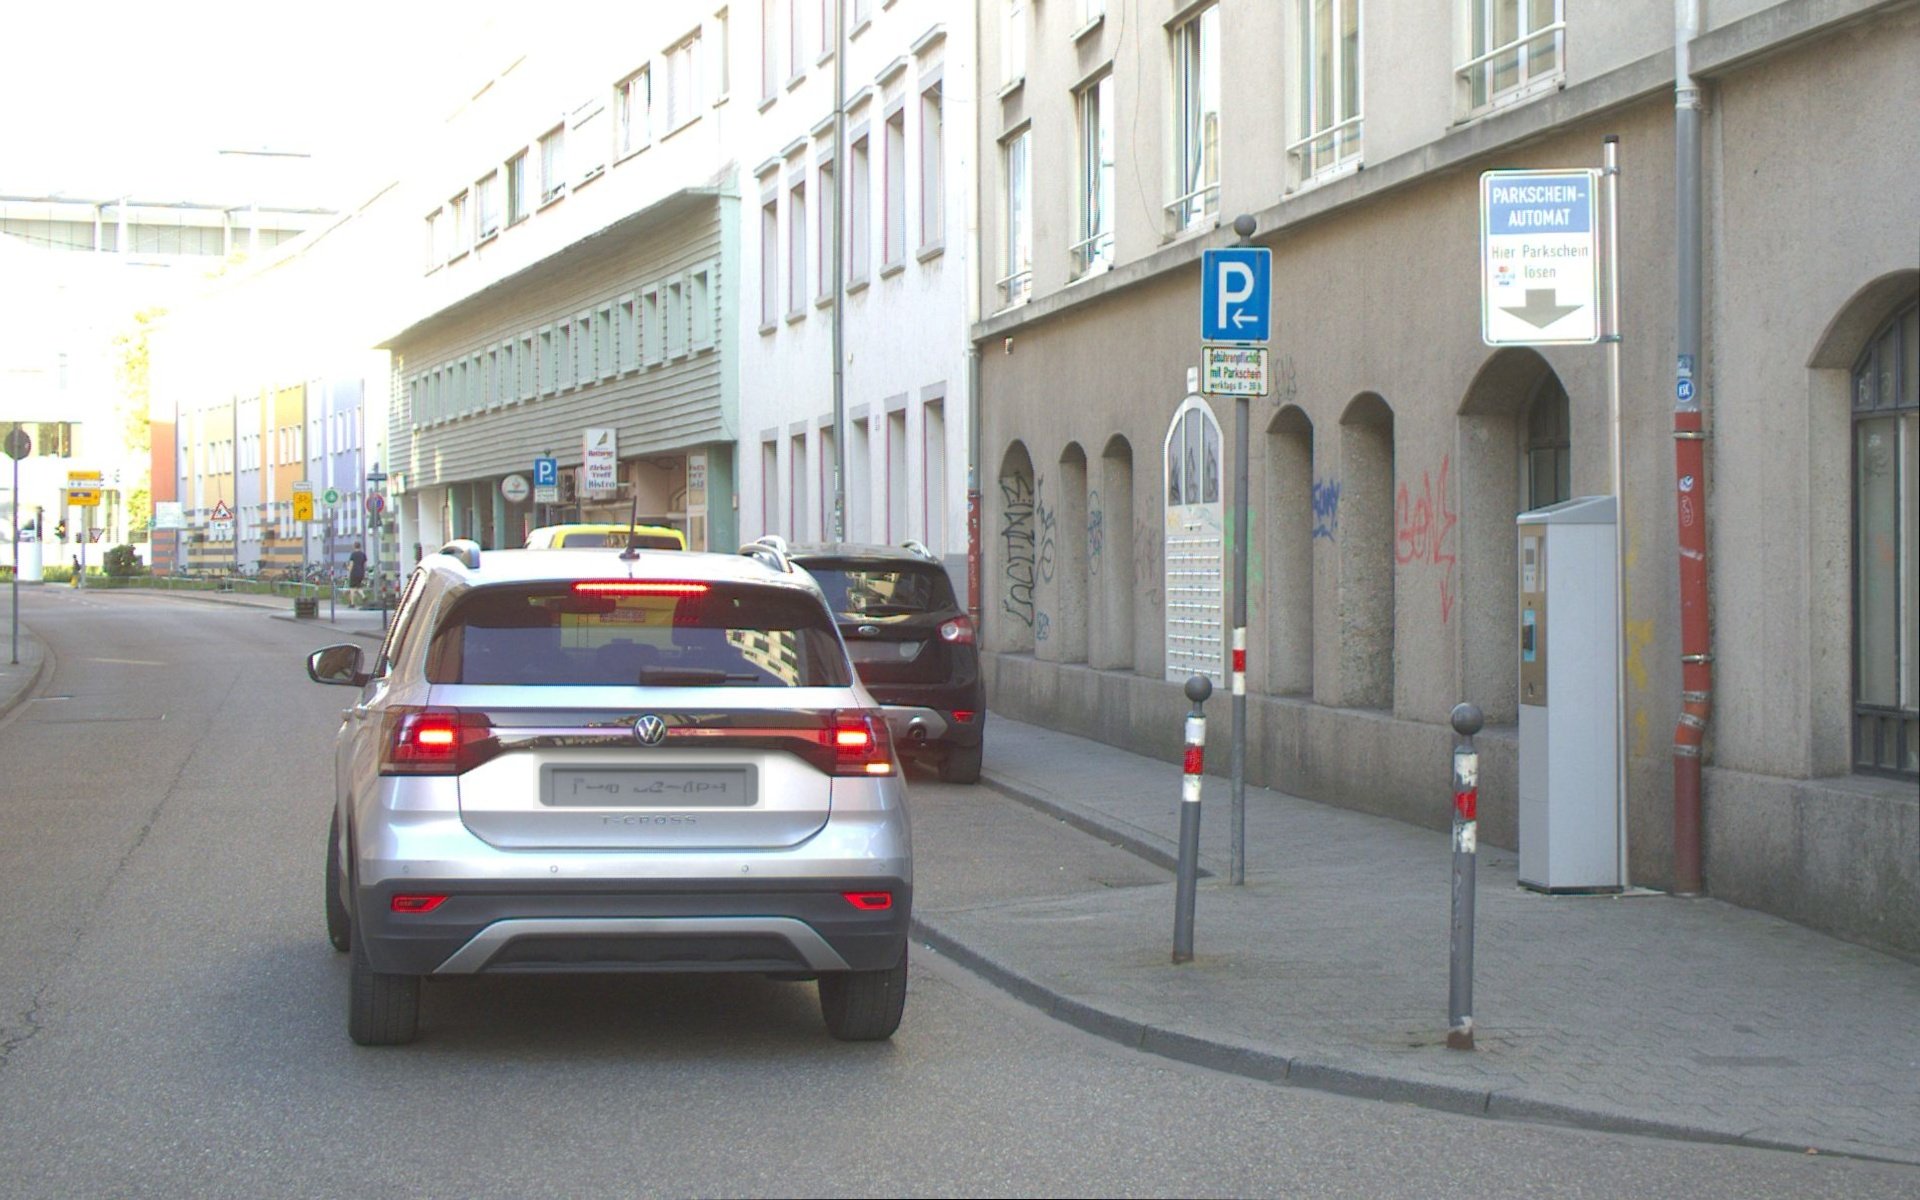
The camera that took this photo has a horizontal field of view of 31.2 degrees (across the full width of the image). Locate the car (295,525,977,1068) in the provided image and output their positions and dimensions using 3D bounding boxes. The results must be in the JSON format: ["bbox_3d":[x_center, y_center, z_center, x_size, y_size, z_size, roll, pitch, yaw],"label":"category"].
[{"bbox_3d":[-1.303,0.528,11.980,1.824,1.554,3.988,0,1,-13],"label":"car"}]

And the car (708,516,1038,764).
[{"bbox_3d":[-0.742,0.231,25.212,1.824,1.649,4.495,0,1,-9],"label":"car"}]

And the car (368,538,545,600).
[{"bbox_3d":[-12.528,-0.781,85.477,4.077,1.477,1.866,-1,1,-18],"label":"car"}]

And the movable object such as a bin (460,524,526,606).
[{"bbox_3d":[-8.905,-0.658,65.489,0.981,1.475,1.552,-2,-1,-16],"label":"movable object such as a bin"}]

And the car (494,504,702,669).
[{"bbox_3d":[-4.445,-0.196,41.640,1.883,1.875,4.847,0,1,-13],"label":"car"}]

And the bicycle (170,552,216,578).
[{"bbox_3d":[-31.899,-1.450,143.037,1.753,1.000,0.613,-2,1,-23],"label":"bicycle"}]

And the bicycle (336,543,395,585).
[{"bbox_3d":[-17.601,-1.063,101.769,1.640,1.137,0.283,-4,3,-26],"label":"bicycle"}]

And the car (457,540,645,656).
[{"bbox_3d":[-5.619,-0.061,46.793,1.883,1.484,4.369,0,1,-16],"label":"car"}]

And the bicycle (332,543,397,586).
[{"bbox_3d":[-17.395,-1.027,100.379,1.748,1.137,0.552,-4,3,-18],"label":"bicycle"}]

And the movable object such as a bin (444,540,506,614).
[{"bbox_3d":[-9.458,-0.438,67.030,0.981,1.380,1.321,-2,-1,-16],"label":"movable object such as a bin"}]

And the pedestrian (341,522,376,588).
[{"bbox_3d":[-16.395,-1.241,93.731,0.696,1.754,1.189,-3,2,-18],"label":"pedestrian"}]

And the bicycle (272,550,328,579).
[{"bbox_3d":[-21.801,-1.173,113.575,1.748,0.943,0.552,-2,1,-18],"label":"bicycle"}]

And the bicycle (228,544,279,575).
[{"bbox_3d":[-26.657,-1.527,129.662,1.810,1.133,0.552,-1,1,-20],"label":"bicycle"}]
